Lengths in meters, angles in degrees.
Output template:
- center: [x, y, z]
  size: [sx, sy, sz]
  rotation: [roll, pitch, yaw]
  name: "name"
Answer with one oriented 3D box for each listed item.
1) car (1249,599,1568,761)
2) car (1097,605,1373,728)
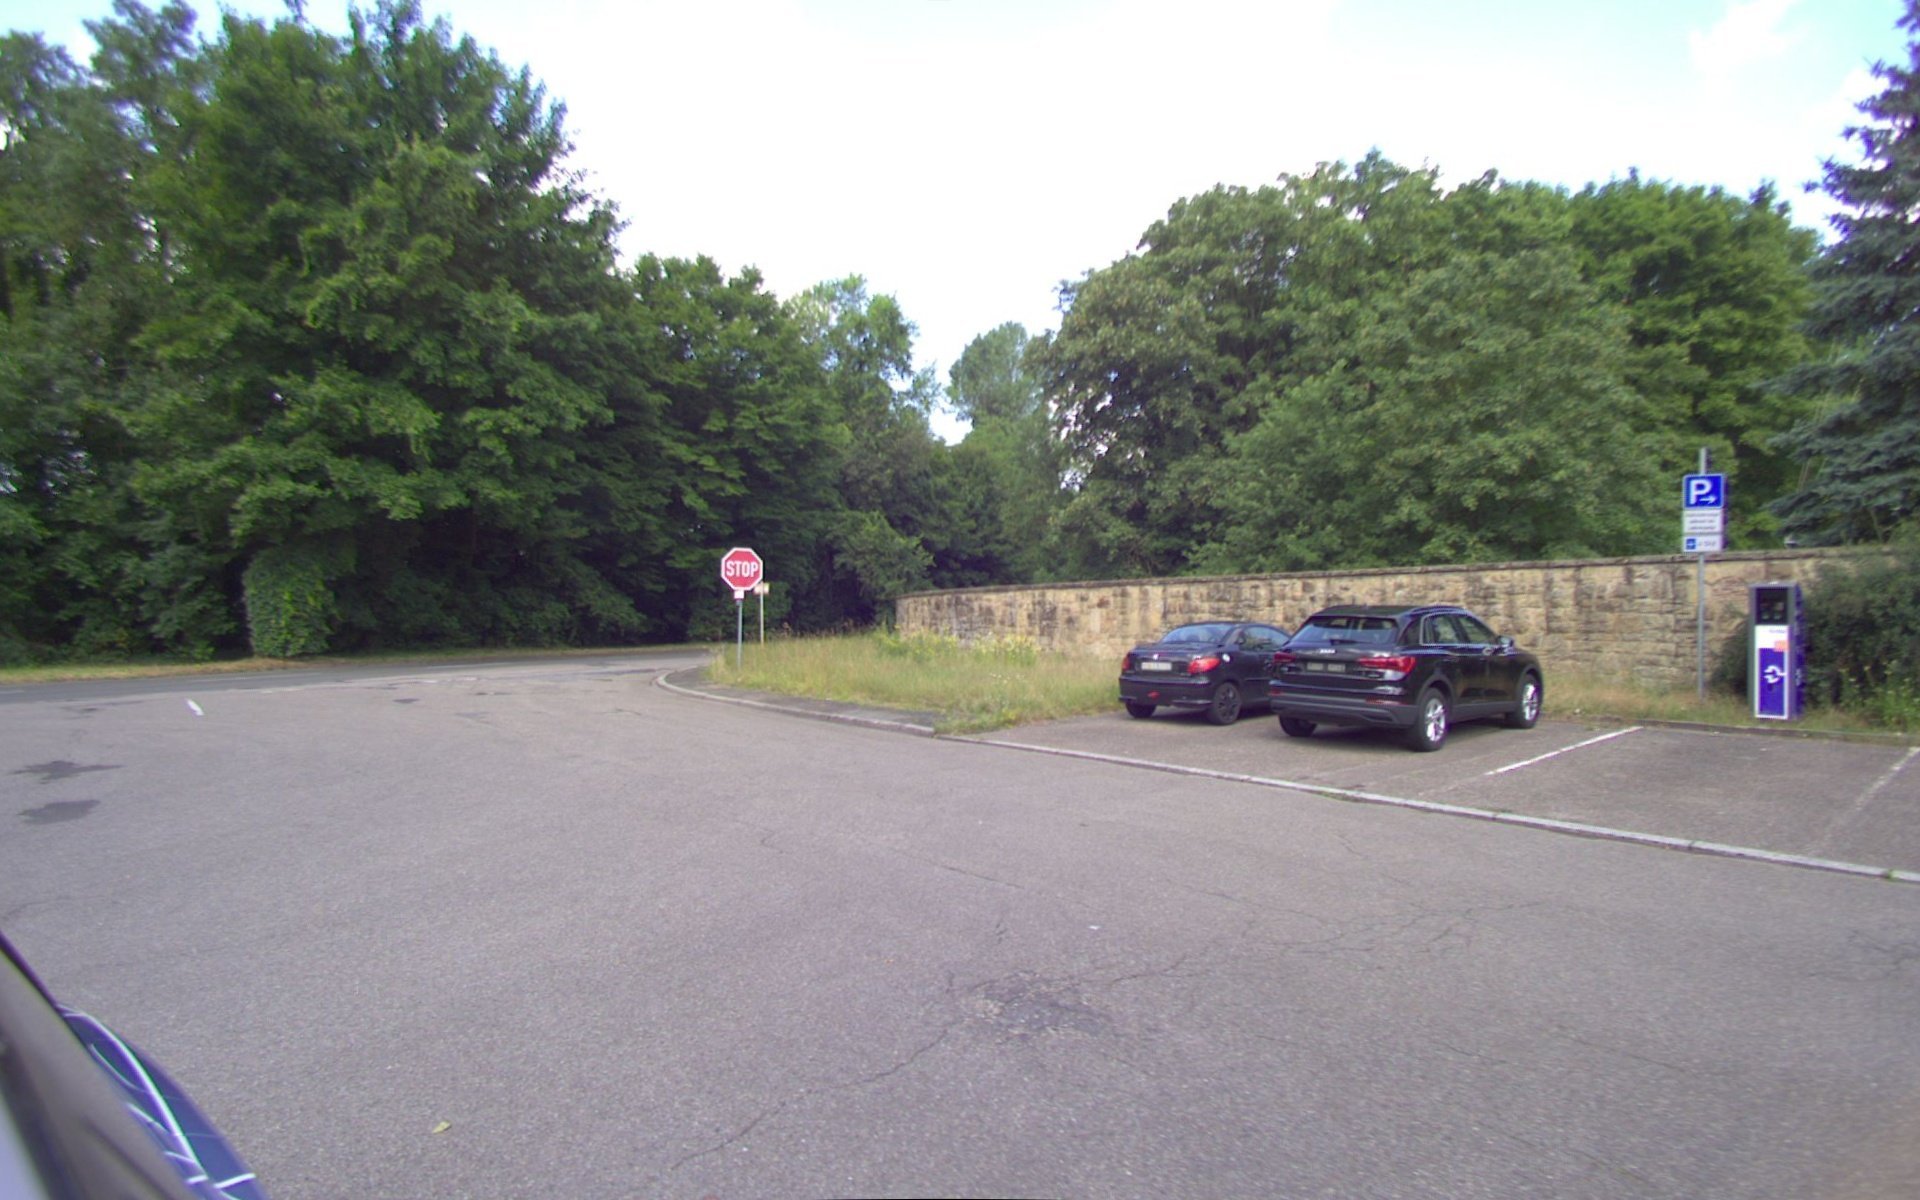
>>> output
- center: [5.529, 0.832, 12.295]
  size: [3.936, 1.558, 1.903]
  rotation: [-2, 0, -38]
  name: "car"
- center: [4.081, 0.865, 14.798]
  size: [3.936, 1.452, 1.883]
  rotation: [-2, 0, -38]
  name: "car"
